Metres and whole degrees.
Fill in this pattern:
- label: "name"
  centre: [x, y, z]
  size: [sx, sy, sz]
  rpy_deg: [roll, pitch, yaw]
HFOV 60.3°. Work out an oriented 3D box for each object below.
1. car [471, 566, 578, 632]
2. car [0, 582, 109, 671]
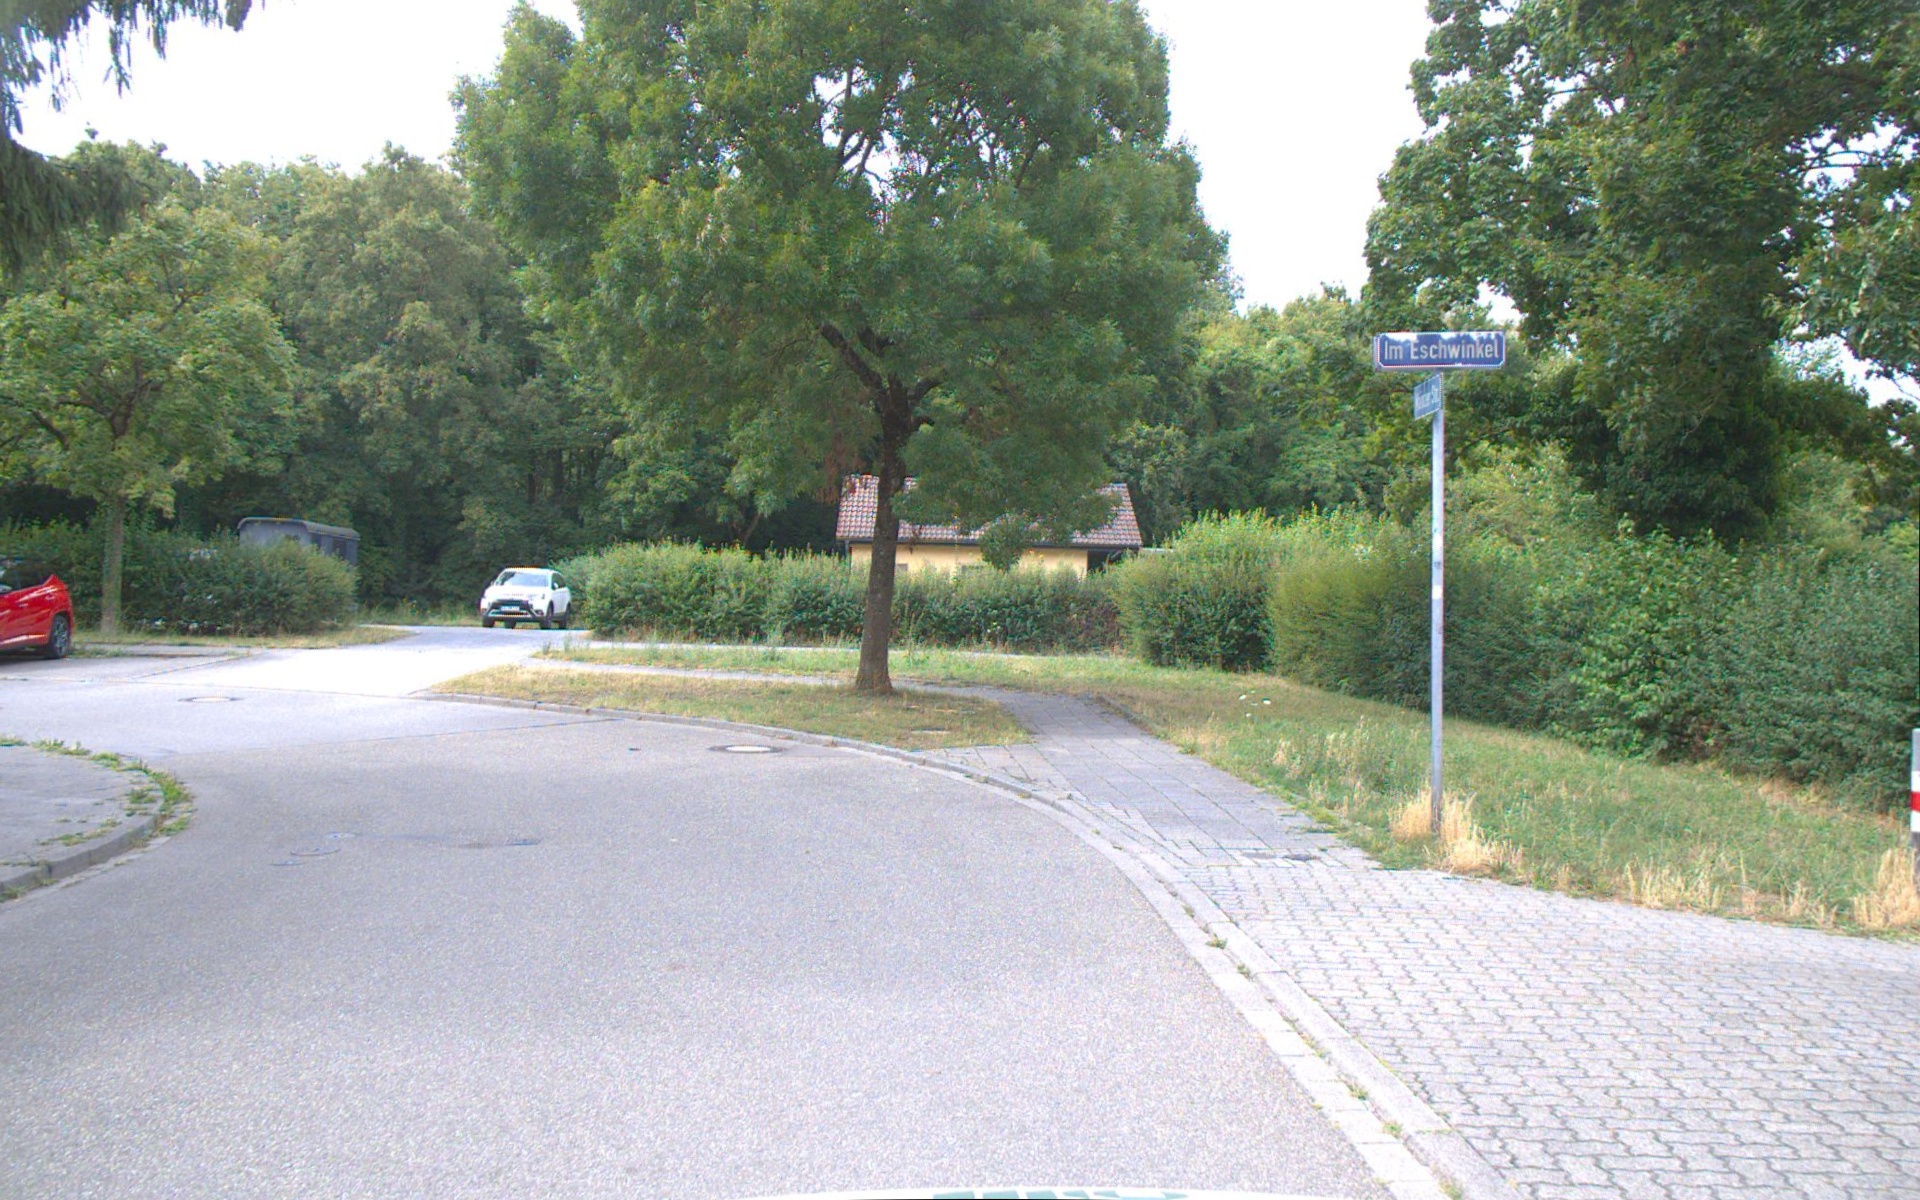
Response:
- label: "car"
  centre: [-11.877, -0.026, 45.409]
  size: [1.898, 1.689, 4.339]
  rpy_deg: [1, 0, -2]
- label: "car"
  centre: [-15.343, 0.379, 25.752]
  size: [1.954, 1.313, 4.690]
  rpy_deg: [1, 0, -3]
